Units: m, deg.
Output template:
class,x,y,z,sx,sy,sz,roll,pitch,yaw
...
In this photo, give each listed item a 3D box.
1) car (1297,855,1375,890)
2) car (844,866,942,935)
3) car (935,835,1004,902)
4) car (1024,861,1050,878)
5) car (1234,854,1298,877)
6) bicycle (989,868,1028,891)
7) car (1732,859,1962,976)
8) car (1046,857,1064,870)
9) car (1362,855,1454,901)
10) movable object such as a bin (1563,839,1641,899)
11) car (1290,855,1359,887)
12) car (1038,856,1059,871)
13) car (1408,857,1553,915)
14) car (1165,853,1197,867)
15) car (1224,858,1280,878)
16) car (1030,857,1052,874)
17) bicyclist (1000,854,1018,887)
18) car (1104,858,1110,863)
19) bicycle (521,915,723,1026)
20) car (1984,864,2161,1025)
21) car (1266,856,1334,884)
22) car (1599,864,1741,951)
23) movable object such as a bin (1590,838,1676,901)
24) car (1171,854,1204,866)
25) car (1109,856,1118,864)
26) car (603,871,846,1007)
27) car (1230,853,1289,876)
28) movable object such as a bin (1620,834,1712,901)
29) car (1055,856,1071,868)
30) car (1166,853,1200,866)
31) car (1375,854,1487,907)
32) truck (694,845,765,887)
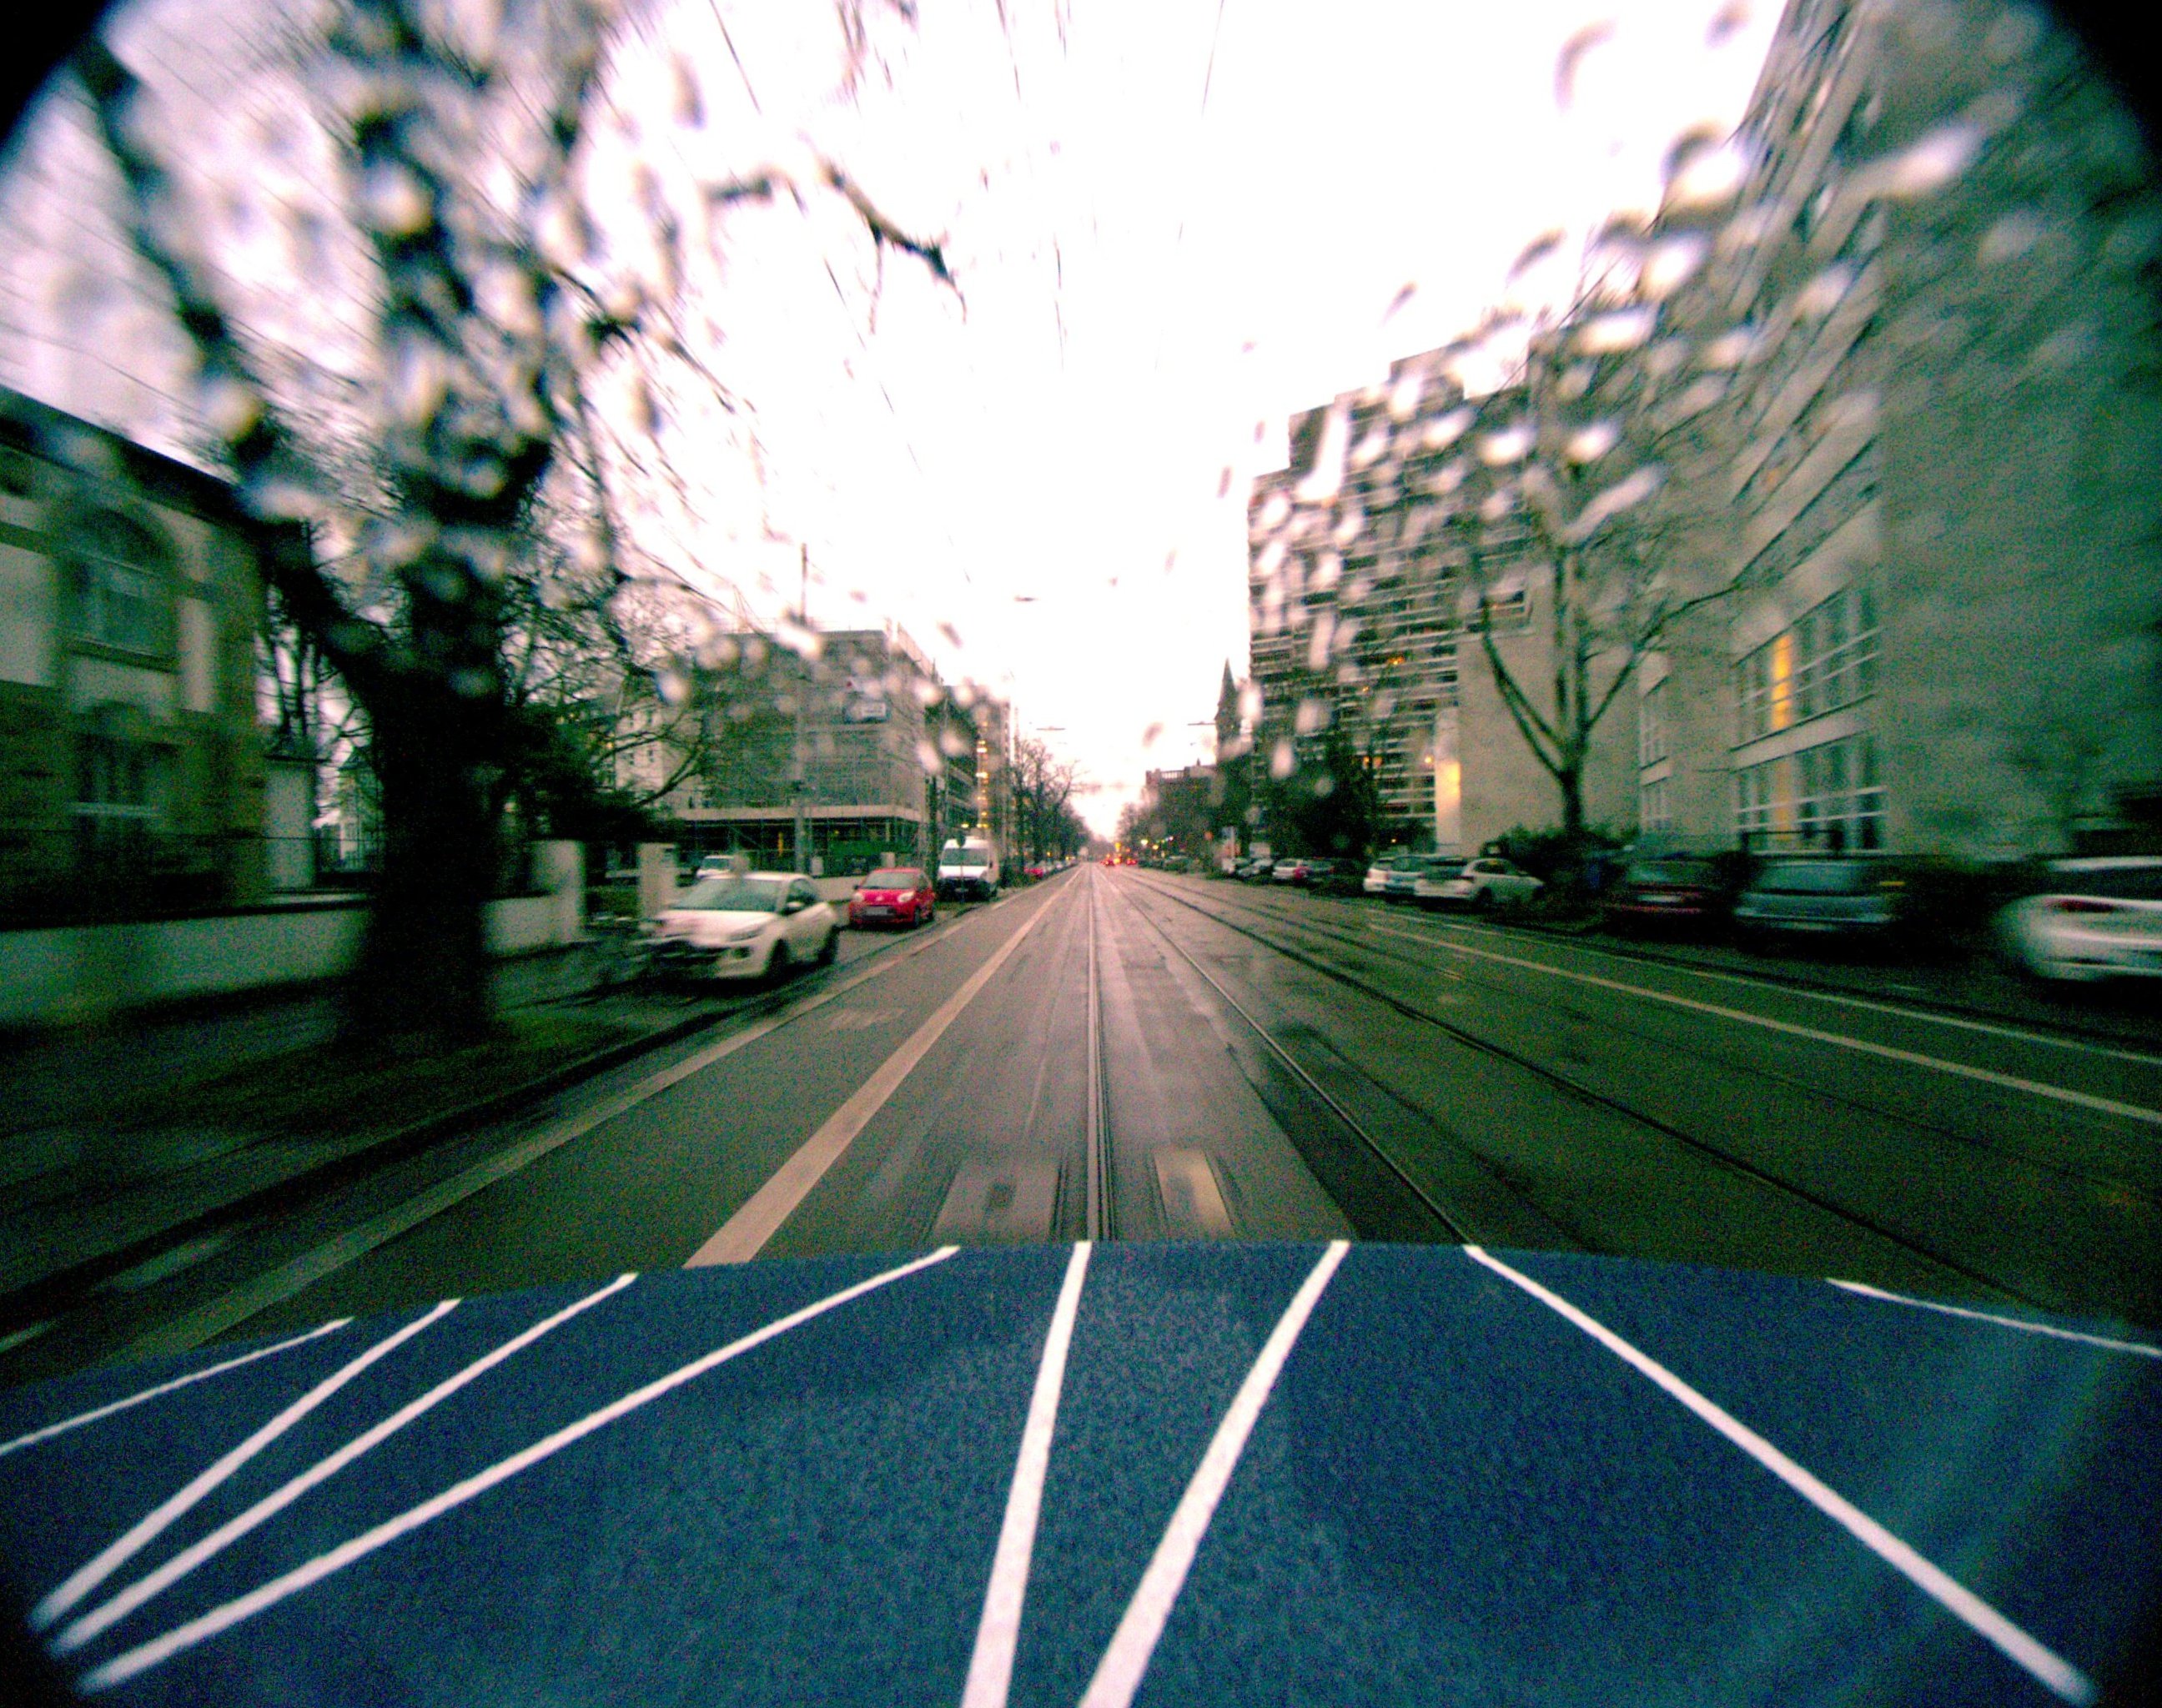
class,x,y,z,sx,sy,sz,roll,pitch,yaw
car,11.611,0.806,34.517,3.862,1.484,1.691,0,-1,-43
car,-4.677,1.105,19.358,1.647,1.514,3.572,-2,0,-2
car,-4.454,0.570,31.218,2.130,2.472,5.438,-1,-1,-2
car,-3.713,1.284,64.750,1.753,1.379,3.737,-1,-1,3
car,11.504,0.703,47.166,4.008,1.370,1.851,0,-1,-41
bicycle,-3.786,1.320,39.683,1.895,1.126,0.730,-1,0,-16
car,11.759,0.830,11.605,4.007,1.455,1.732,0,1,-34
car,-3.233,1.179,93.758,1.866,1.584,4.001,-1,-1,3
car,12.068,0.841,27.943,3.885,1.542,1.688,0,-1,-44
movable object such as a bin,16.735,0.496,24.451,1.573,1.848,1.318,-1,-1,2
car,12.193,0.823,38.024,3.458,1.484,1.725,0,-1,-41
car,-3.580,1.033,84.448,1.866,1.584,4.001,-1,-1,3
car,10.995,0.813,20.865,4.007,1.435,1.732,0,1,-32
car,12.931,0.784,98.335,3.995,1.630,2.001,-1,0,7
car,12.234,0.974,54.217,4.008,1.391,1.851,0,-1,-41
car,-3.863,1.110,73.707,1.753,1.574,3.737,-1,-1,3
bicyclist,-3.757,0.871,39.693,0.771,1.679,0.706,-1,0,-16
car,7.752,2.027,228.830,1.765,1.402,4.001,-1,-1,1
bicycle,-4.799,1.207,8.017,1.717,1.064,0.663,-1,0,1
car,11.201,0.832,8.083,3.861,1.415,1.732,0,-1,-45
car,11.832,0.855,40.946,1.788,1.437,4.009,-1,-1,45
car,11.310,0.895,14.462,1.745,1.344,4.357,0,0,43
movable object such as a bin,16.702,0.474,23.052,1.573,1.848,1.394,-1,-1,2
car,13.291,0.748,95.107,3.995,1.477,1.673,-1,0,7
car,6.431,1.222,152.228,1.751,1.535,4.296,-1,-1,2
car,-4.706,1.031,10.660,1.696,1.511,3.637,-1,0,0
car,11.982,0.681,51.031,4.008,1.454,1.851,0,-1,-41
movable object such as a bin,16.647,0.398,21.673,1.573,1.848,1.318,-1,-1,2
car,-2.500,1.133,104.577,1.866,1.584,4.001,-1,-1,3
car,12.304,0.710,91.620,3.995,1.477,1.673,-1,0,7
car,11.167,0.790,24.123,4.008,1.554,1.732,0,-1,-41
truck,-23.320,0.713,50.770,2.132,2.573,7.076,-1,1,-6
